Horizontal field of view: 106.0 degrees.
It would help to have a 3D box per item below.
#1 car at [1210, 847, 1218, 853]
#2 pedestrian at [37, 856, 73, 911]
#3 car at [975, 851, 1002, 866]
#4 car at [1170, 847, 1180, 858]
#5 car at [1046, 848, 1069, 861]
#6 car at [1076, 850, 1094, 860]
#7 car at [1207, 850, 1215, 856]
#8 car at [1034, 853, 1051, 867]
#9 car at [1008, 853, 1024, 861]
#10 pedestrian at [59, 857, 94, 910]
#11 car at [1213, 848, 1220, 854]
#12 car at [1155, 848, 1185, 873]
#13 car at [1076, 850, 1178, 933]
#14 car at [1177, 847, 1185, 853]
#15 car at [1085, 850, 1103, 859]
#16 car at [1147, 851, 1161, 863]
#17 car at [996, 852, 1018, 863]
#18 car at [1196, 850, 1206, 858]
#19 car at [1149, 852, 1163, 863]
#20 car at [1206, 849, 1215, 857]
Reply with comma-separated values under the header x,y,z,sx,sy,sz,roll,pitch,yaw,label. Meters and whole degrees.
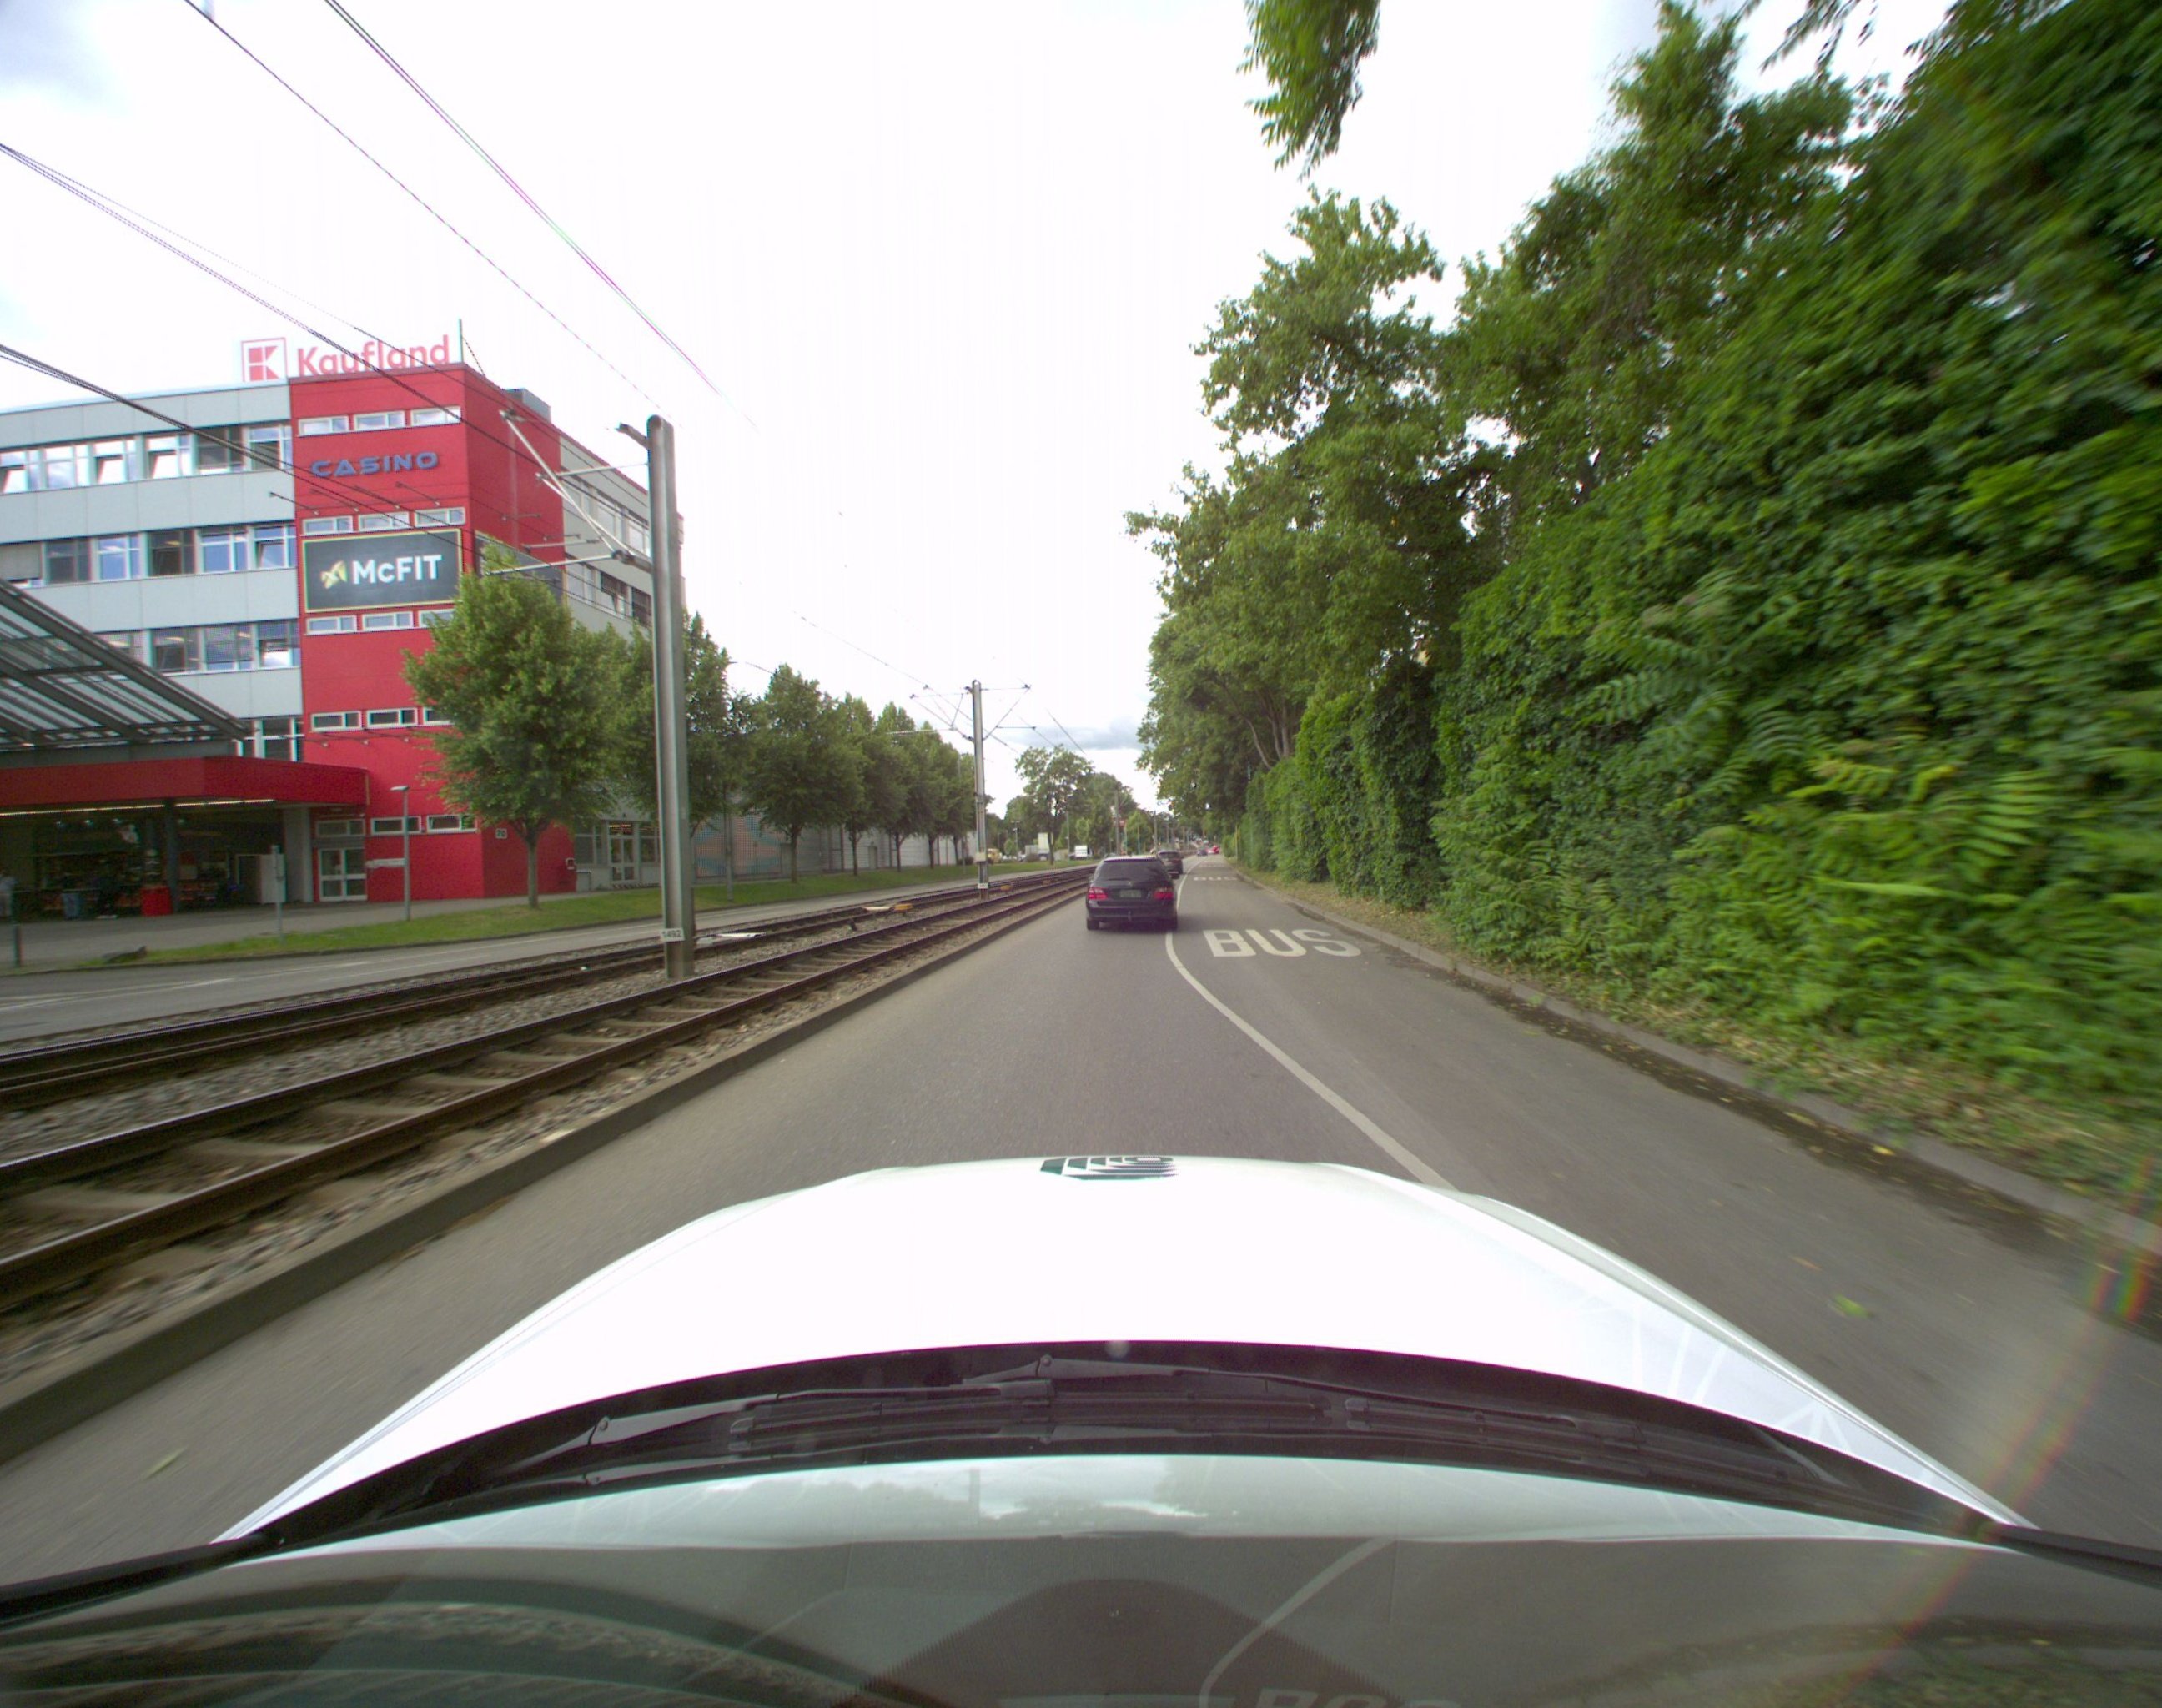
x,y,z,sx,sy,sz,roll,pitch,yaw,label
34.772,-0.945,212.479,1.815,1.530,4.187,-2,0,7,car
-39.085,1.115,31.030,0.598,2.013,0.554,-4,-1,6,pedestrian
-11.168,0.524,98.570,1.981,1.743,5.001,-2,0,9,car
18.438,-0.315,160.034,1.882,2.013,3.904,-4,-1,6,car
-4.250,0.106,147.875,3.974,2.123,2.000,-4,-1,0,car
0.796,0.216,168.466,3.684,1.816,1.793,-2,0,-3,car
32.421,-0.212,202.754,1.815,1.530,4.187,-2,0,7,car
-5.945,0.864,127.343,1.984,2.013,4.006,-4,-1,5,car
-18.575,0.848,233.598,3.963,2.013,2.005,-4,-1,9,car
-39.008,1.130,31.626,0.598,2.013,0.554,-4,-1,6,pedestrian
37.451,-0.760,225.064,1.815,1.530,4.187,-2,0,7,car
5.765,0.413,52.939,1.817,1.530,4.422,-2,0,5,car
1.078,0.695,17.156,1.824,1.478,4.423,-2,0,6,car
24.176,-0.920,197.406,1.815,1.530,4.187,-2,0,7,car
2.846,0.035,179.660,3.684,1.816,1.793,-2,0,-3,car
10.365,0.418,115.661,1.815,1.530,3.994,-2,0,7,car
-13.937,0.670,153.268,3.987,1.680,1.993,-4,-1,-10,car
23.916,-0.020,162.477,1.815,1.530,4.424,-2,0,7,car
11.097,0.485,120.570,1.815,1.530,3.994,-2,0,7,car
27.373,-0.246,172.159,1.815,1.530,4.187,-2,0,7,car
